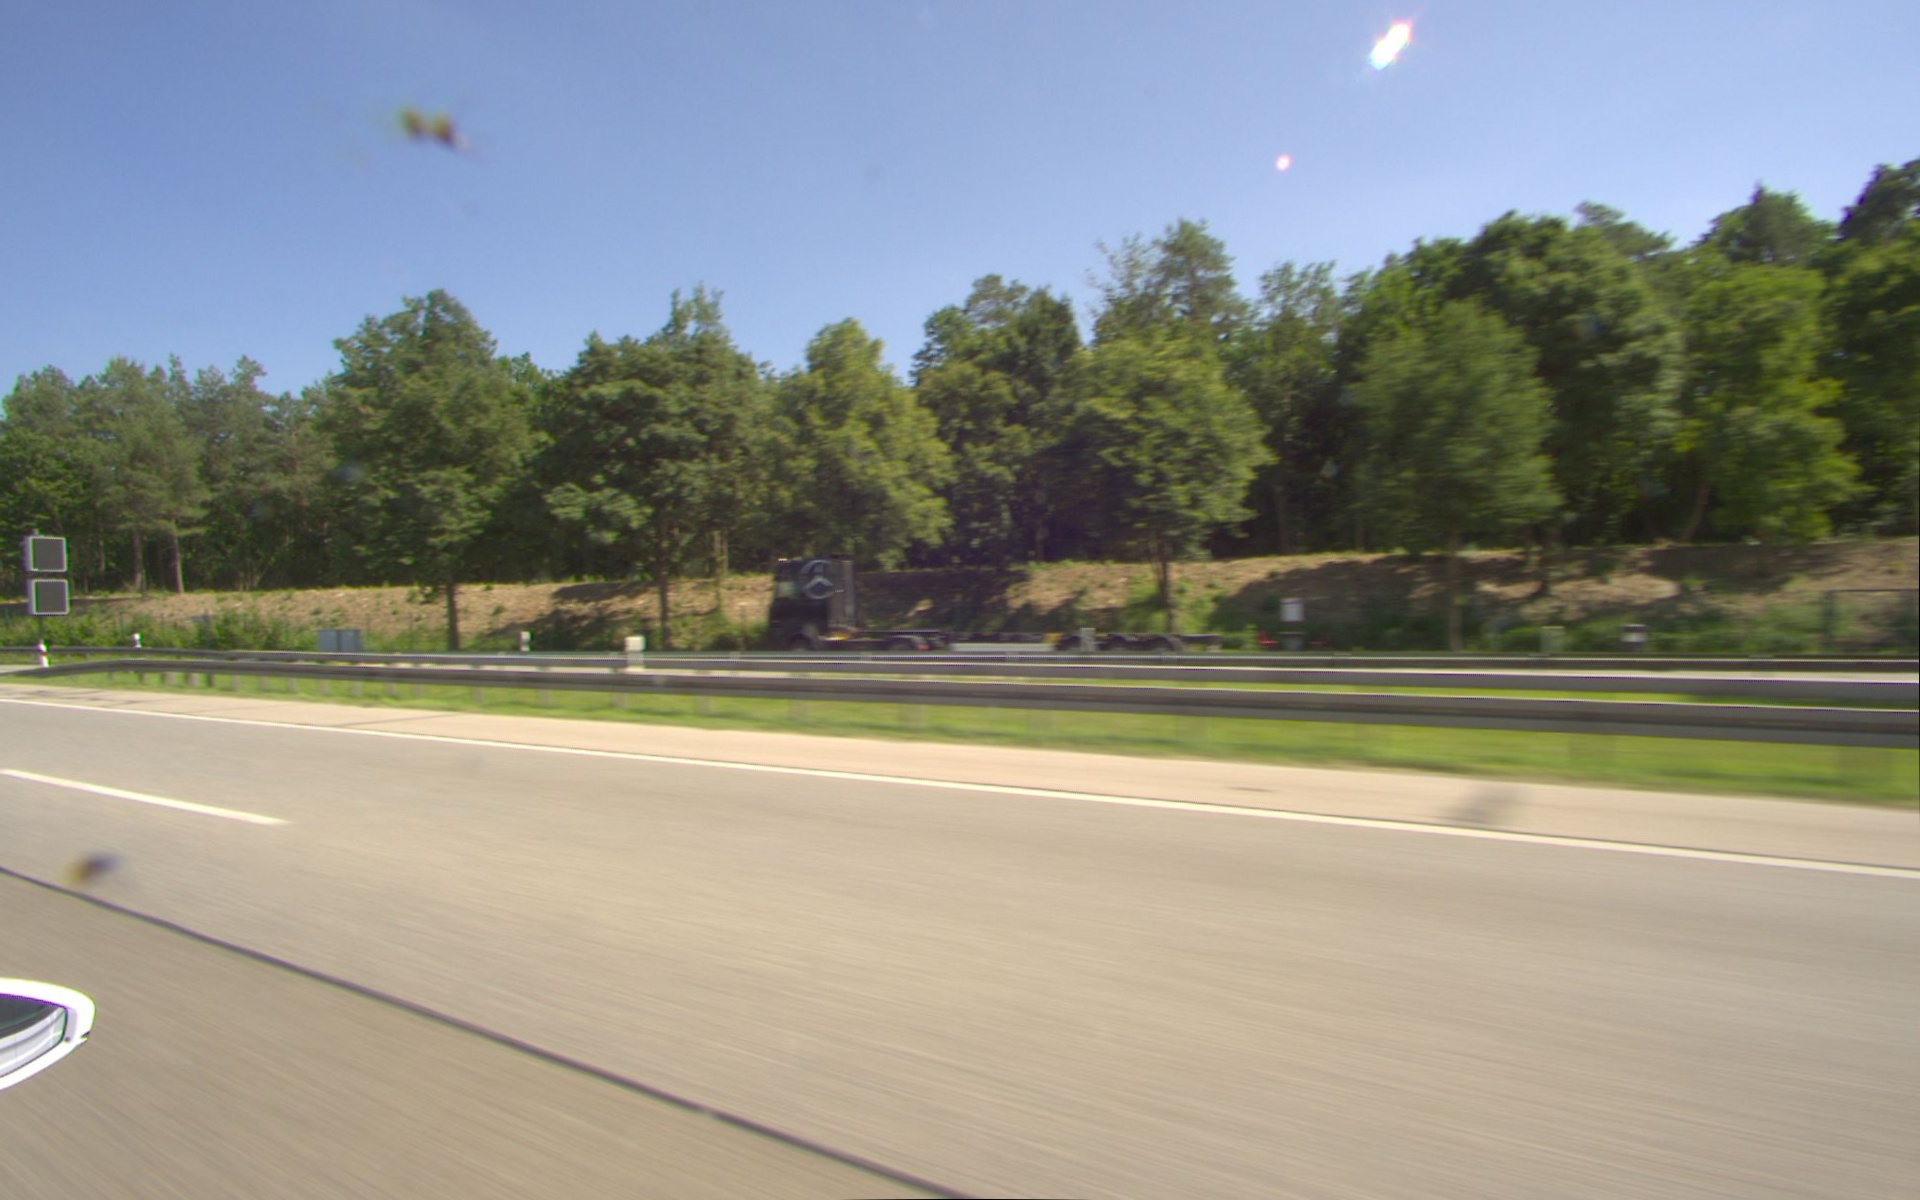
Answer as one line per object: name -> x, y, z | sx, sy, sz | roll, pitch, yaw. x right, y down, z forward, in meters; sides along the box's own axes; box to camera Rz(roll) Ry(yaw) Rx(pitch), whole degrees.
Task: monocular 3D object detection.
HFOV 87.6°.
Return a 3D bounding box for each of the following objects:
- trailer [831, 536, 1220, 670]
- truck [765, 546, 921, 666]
trailer -> 1.996, 0.180, 32.872 | 12.523, 3.966, 2.575 | -1, 0, 19
truck -> -4.039, 0.241, 34.950 | 4.780, 3.966, 2.576 | -1, 0, 19
